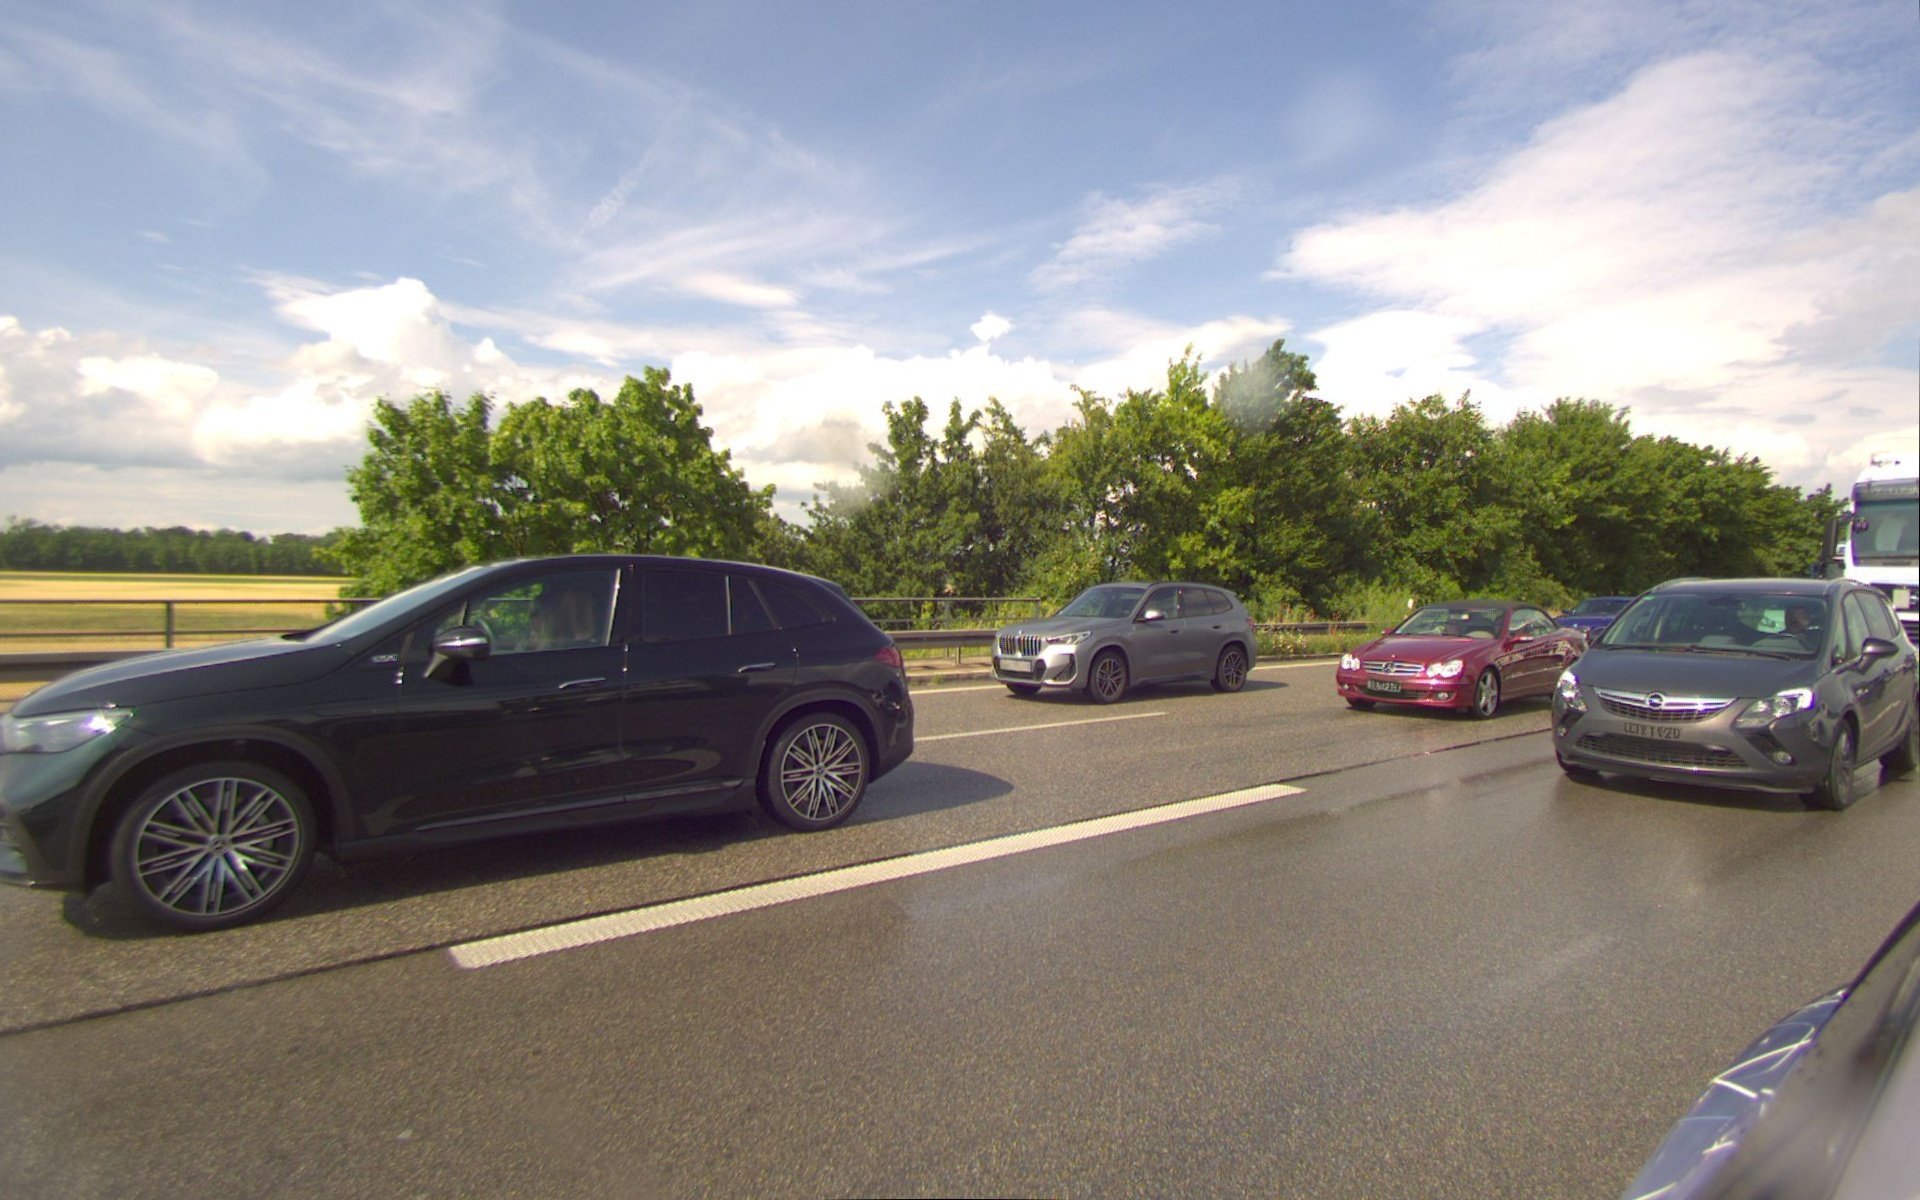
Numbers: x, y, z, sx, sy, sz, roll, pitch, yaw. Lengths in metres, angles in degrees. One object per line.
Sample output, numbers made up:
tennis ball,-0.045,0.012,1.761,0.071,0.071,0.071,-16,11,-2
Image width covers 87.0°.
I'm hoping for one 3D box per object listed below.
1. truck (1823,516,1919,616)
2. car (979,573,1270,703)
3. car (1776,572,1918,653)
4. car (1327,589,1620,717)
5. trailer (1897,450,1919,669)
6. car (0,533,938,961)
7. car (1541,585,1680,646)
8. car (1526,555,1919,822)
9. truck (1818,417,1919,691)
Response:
truck,39.641,-1.411,43.351,5.762,4.003,3.111,-1,1,-39
car,2.447,0.448,14.495,4.209,1.606,1.752,-1,0,-39
car,23.019,0.245,26.205,5.075,1.909,1.954,-1,1,-39
car,6.858,0.577,13.322,4.429,1.428,1.756,0,0,-38
trailer,23.395,-0.825,21.819,11.326,4.158,2.791,-1,0,-37
car,-2.541,0.523,5.921,4.569,1.601,1.998,0,1,-39
car,17.053,0.348,26.465,4.425,1.481,1.791,-1,0,-39
car,6.638,0.528,8.434,4.317,1.668,1.883,0,1,-39
truck,17.589,-0.732,17.391,7.308,4.158,2.818,-1,0,-37
